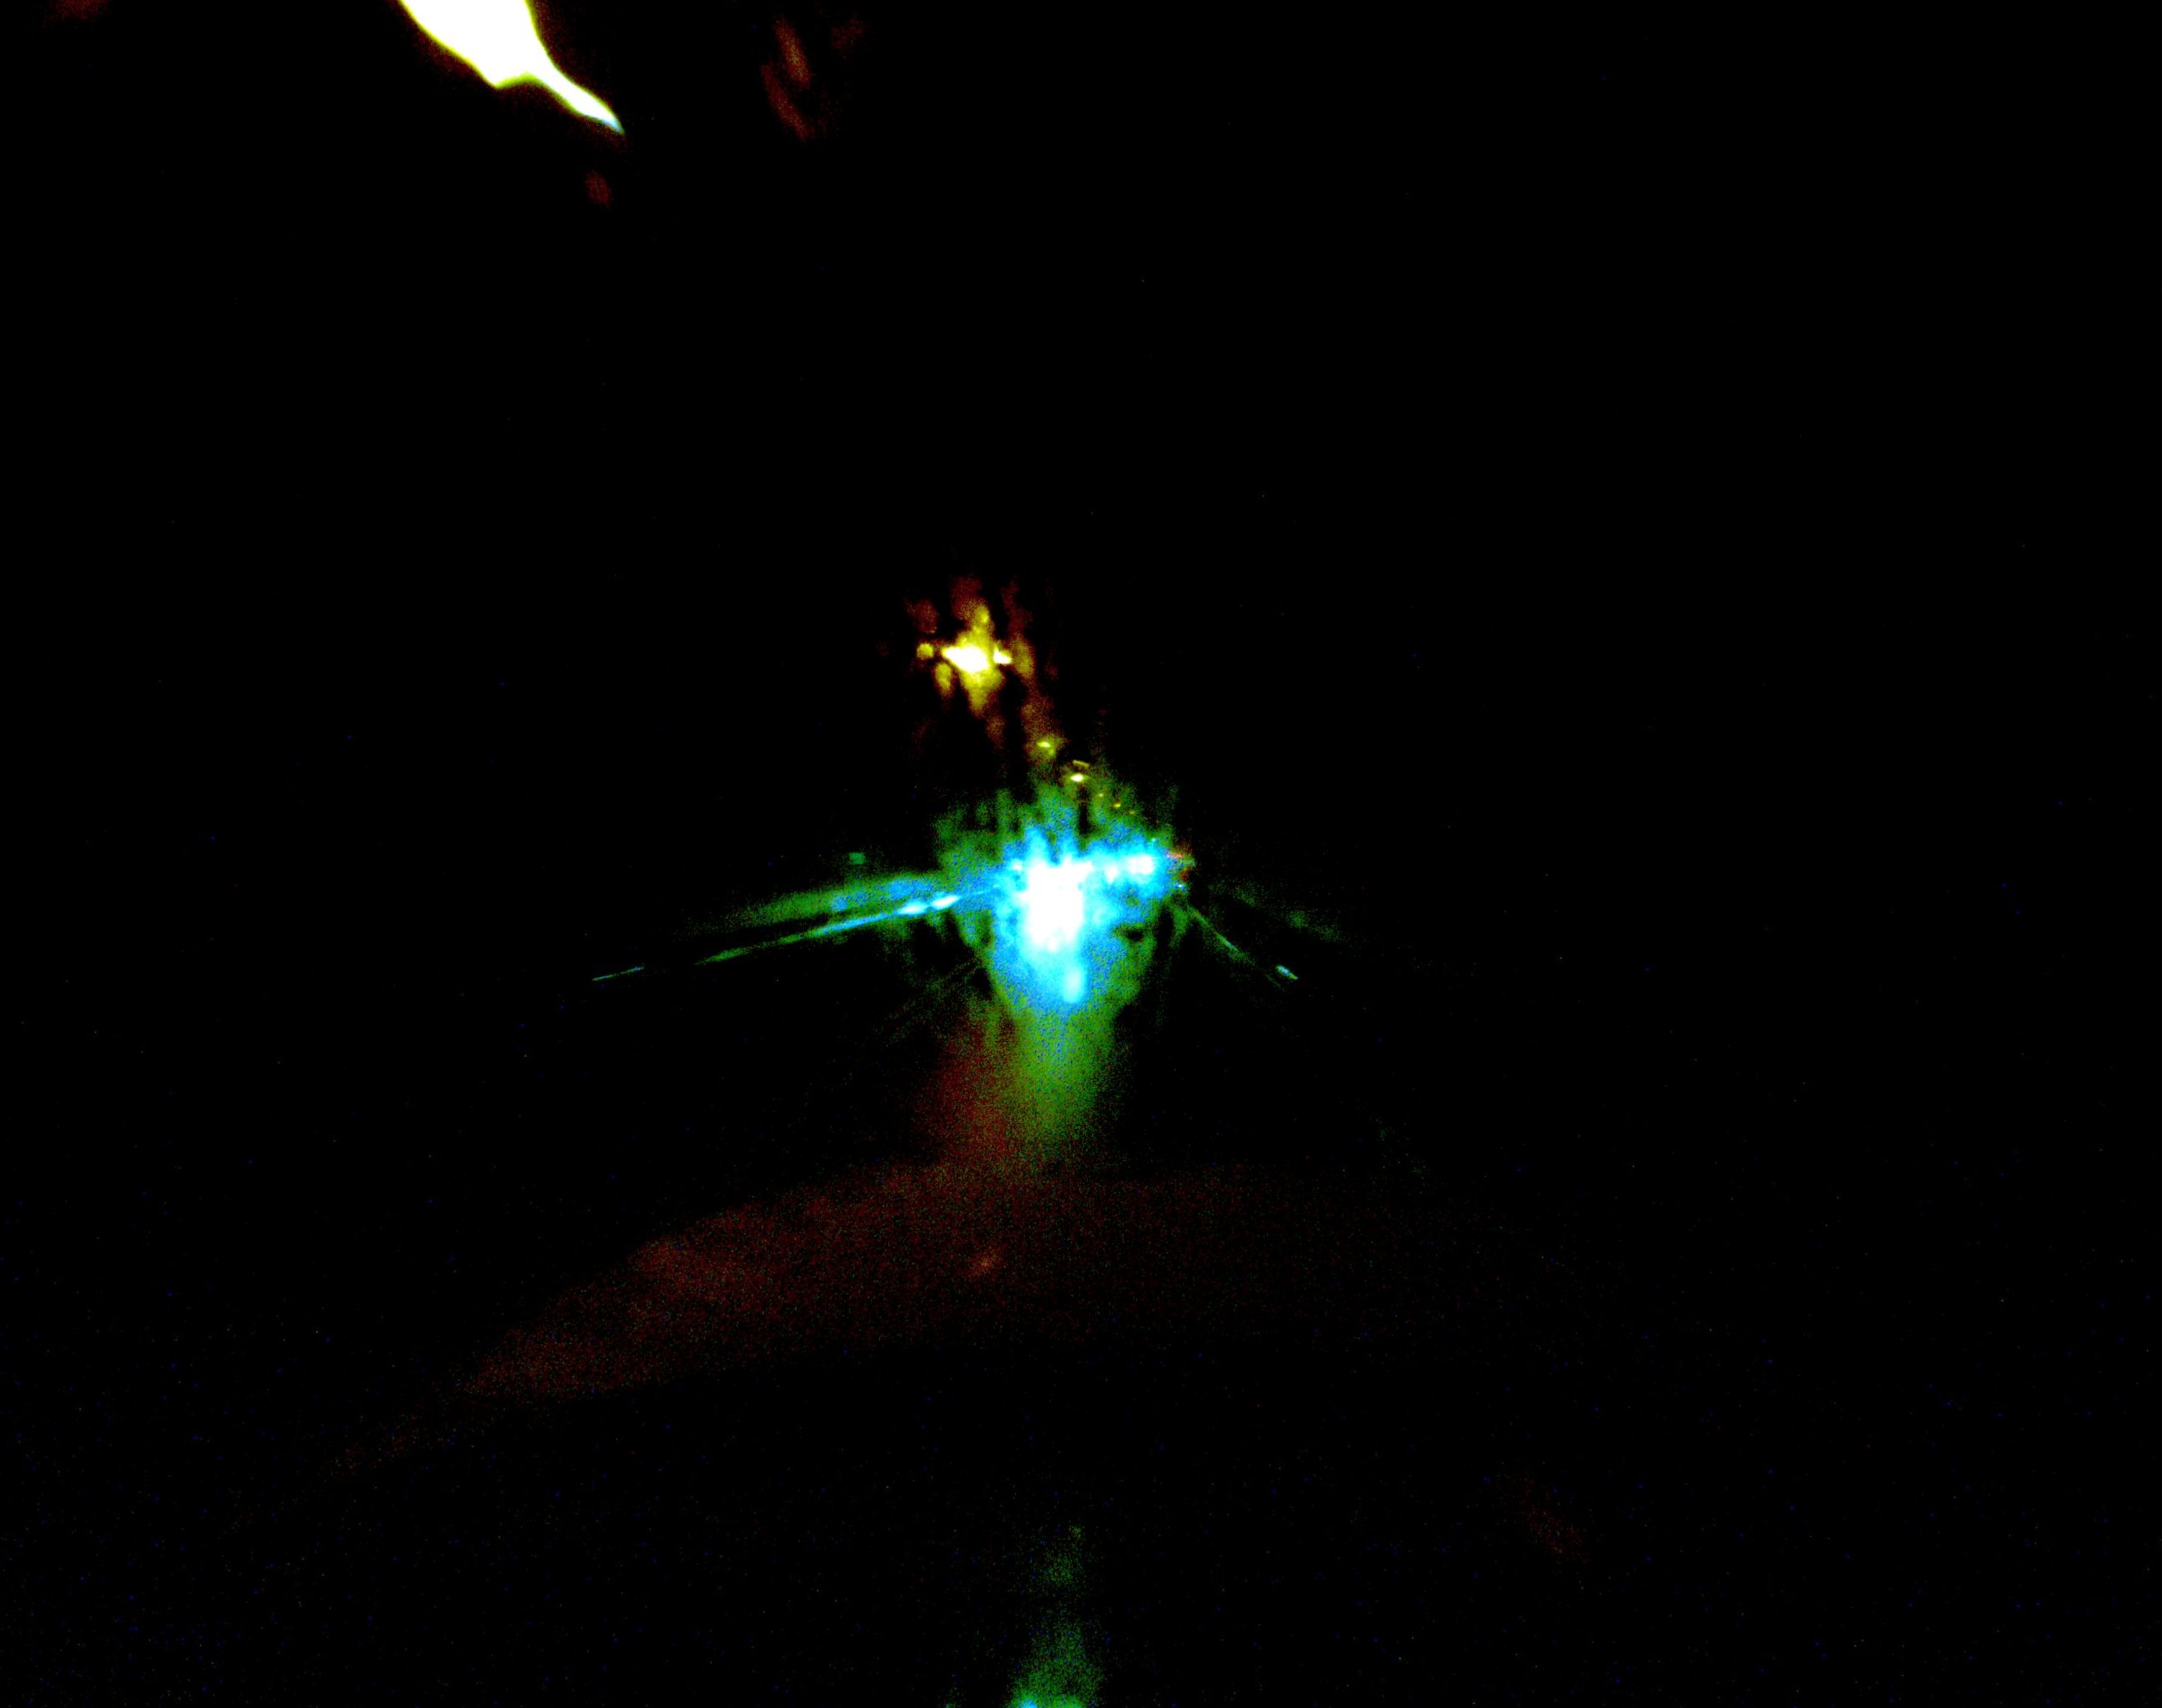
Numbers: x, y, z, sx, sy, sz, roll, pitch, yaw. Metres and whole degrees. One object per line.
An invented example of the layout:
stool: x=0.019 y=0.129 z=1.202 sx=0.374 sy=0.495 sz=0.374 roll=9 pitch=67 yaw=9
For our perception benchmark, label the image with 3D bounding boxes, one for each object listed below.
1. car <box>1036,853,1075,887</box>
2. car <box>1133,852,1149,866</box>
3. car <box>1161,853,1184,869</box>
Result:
car: x=-1.124 y=0.680 z=37.494 sx=1.620 sy=1.447 sz=3.936 roll=-1 pitch=0 yaw=0
car: x=6.468 y=0.494 z=87.782 sx=1.621 sy=1.397 sz=4.007 roll=-1 pitch=0 yaw=6
car: x=10.255 y=0.784 z=90.893 sx=1.979 sy=1.650 sz=4.016 roll=-1 pitch=0 yaw=15
